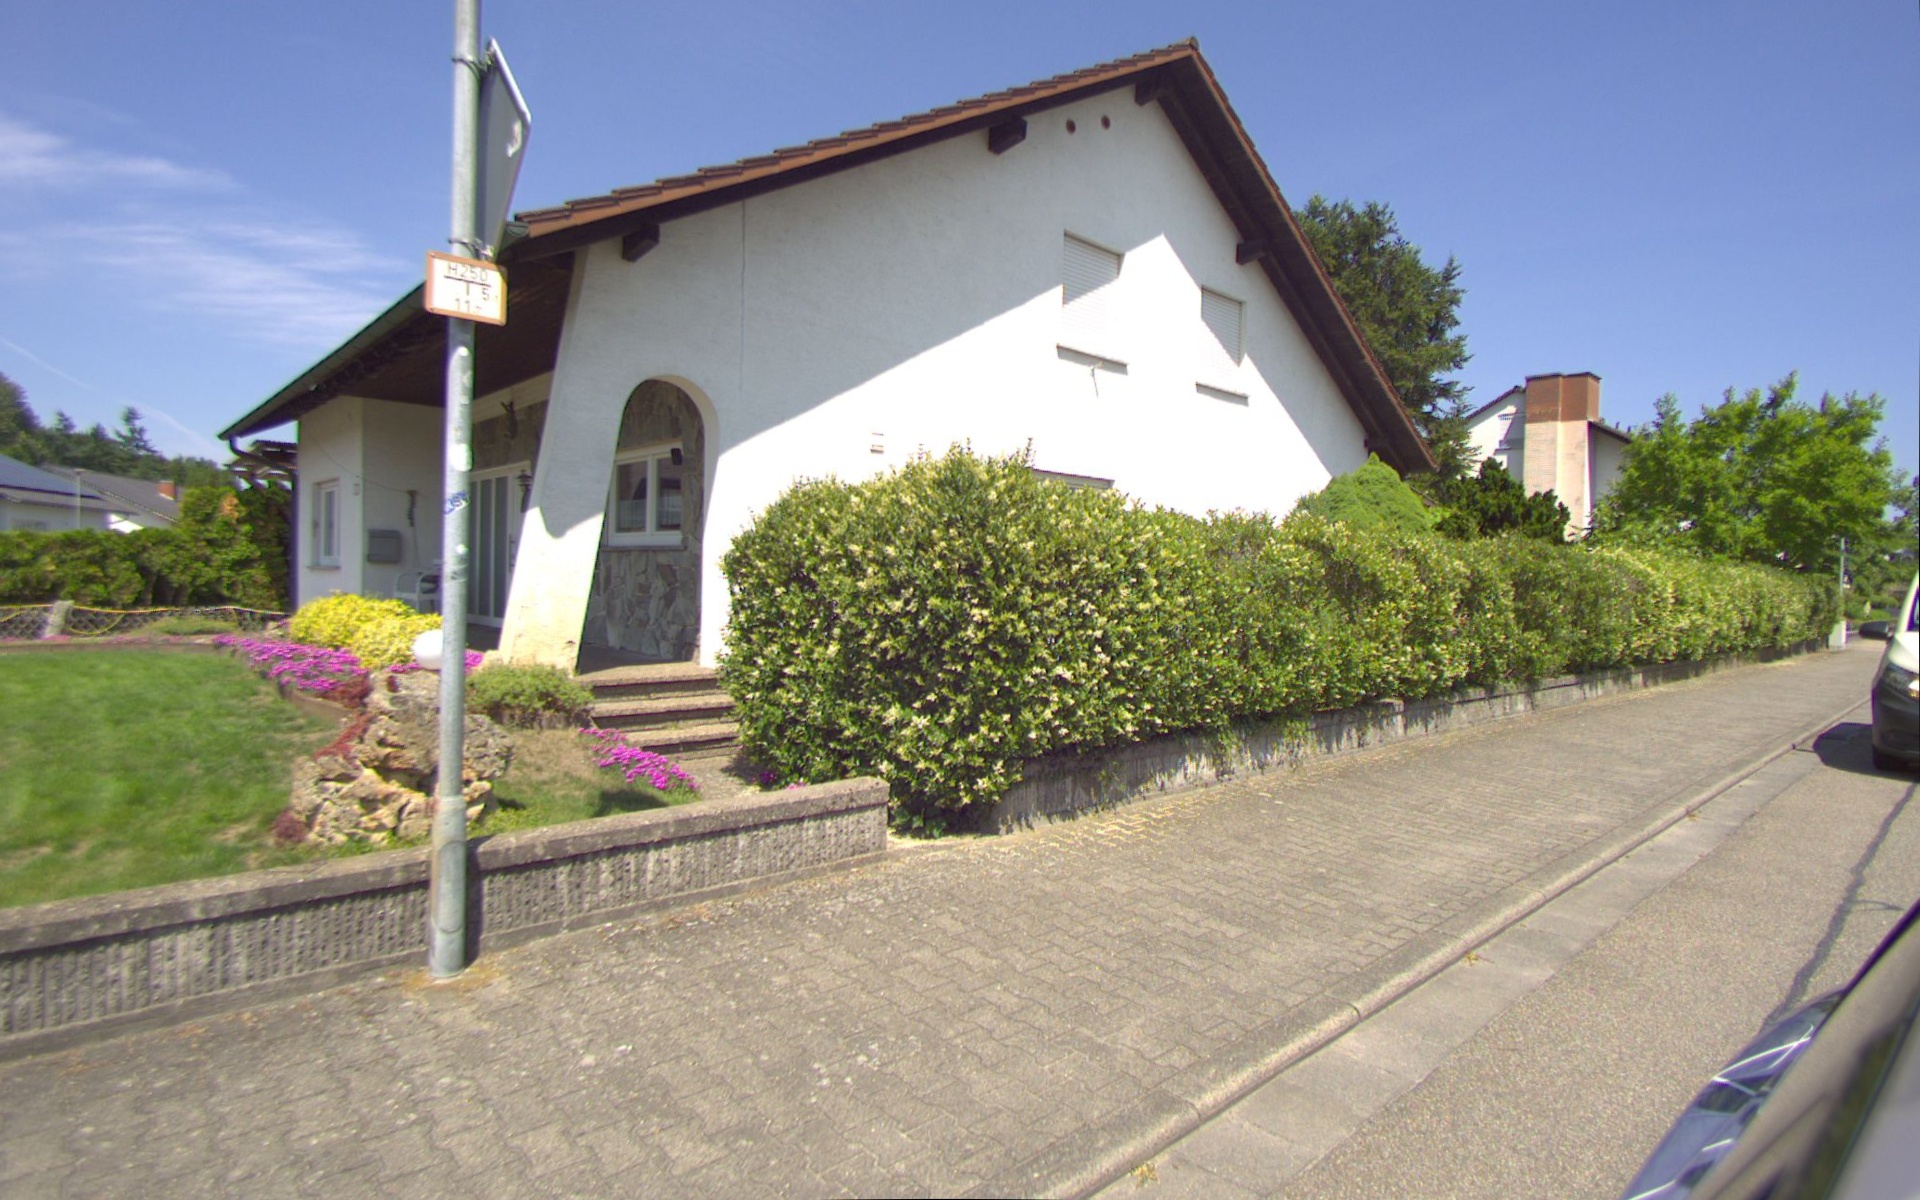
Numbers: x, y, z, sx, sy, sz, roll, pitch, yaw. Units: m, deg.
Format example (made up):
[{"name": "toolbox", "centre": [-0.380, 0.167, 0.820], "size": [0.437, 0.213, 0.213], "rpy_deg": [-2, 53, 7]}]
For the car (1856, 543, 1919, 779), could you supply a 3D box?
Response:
[{"name": "car", "centre": [9.905, 0.486, 9.229], "size": [4.981, 1.879, 2.016], "rpy_deg": [-1, 2, -42]}]
